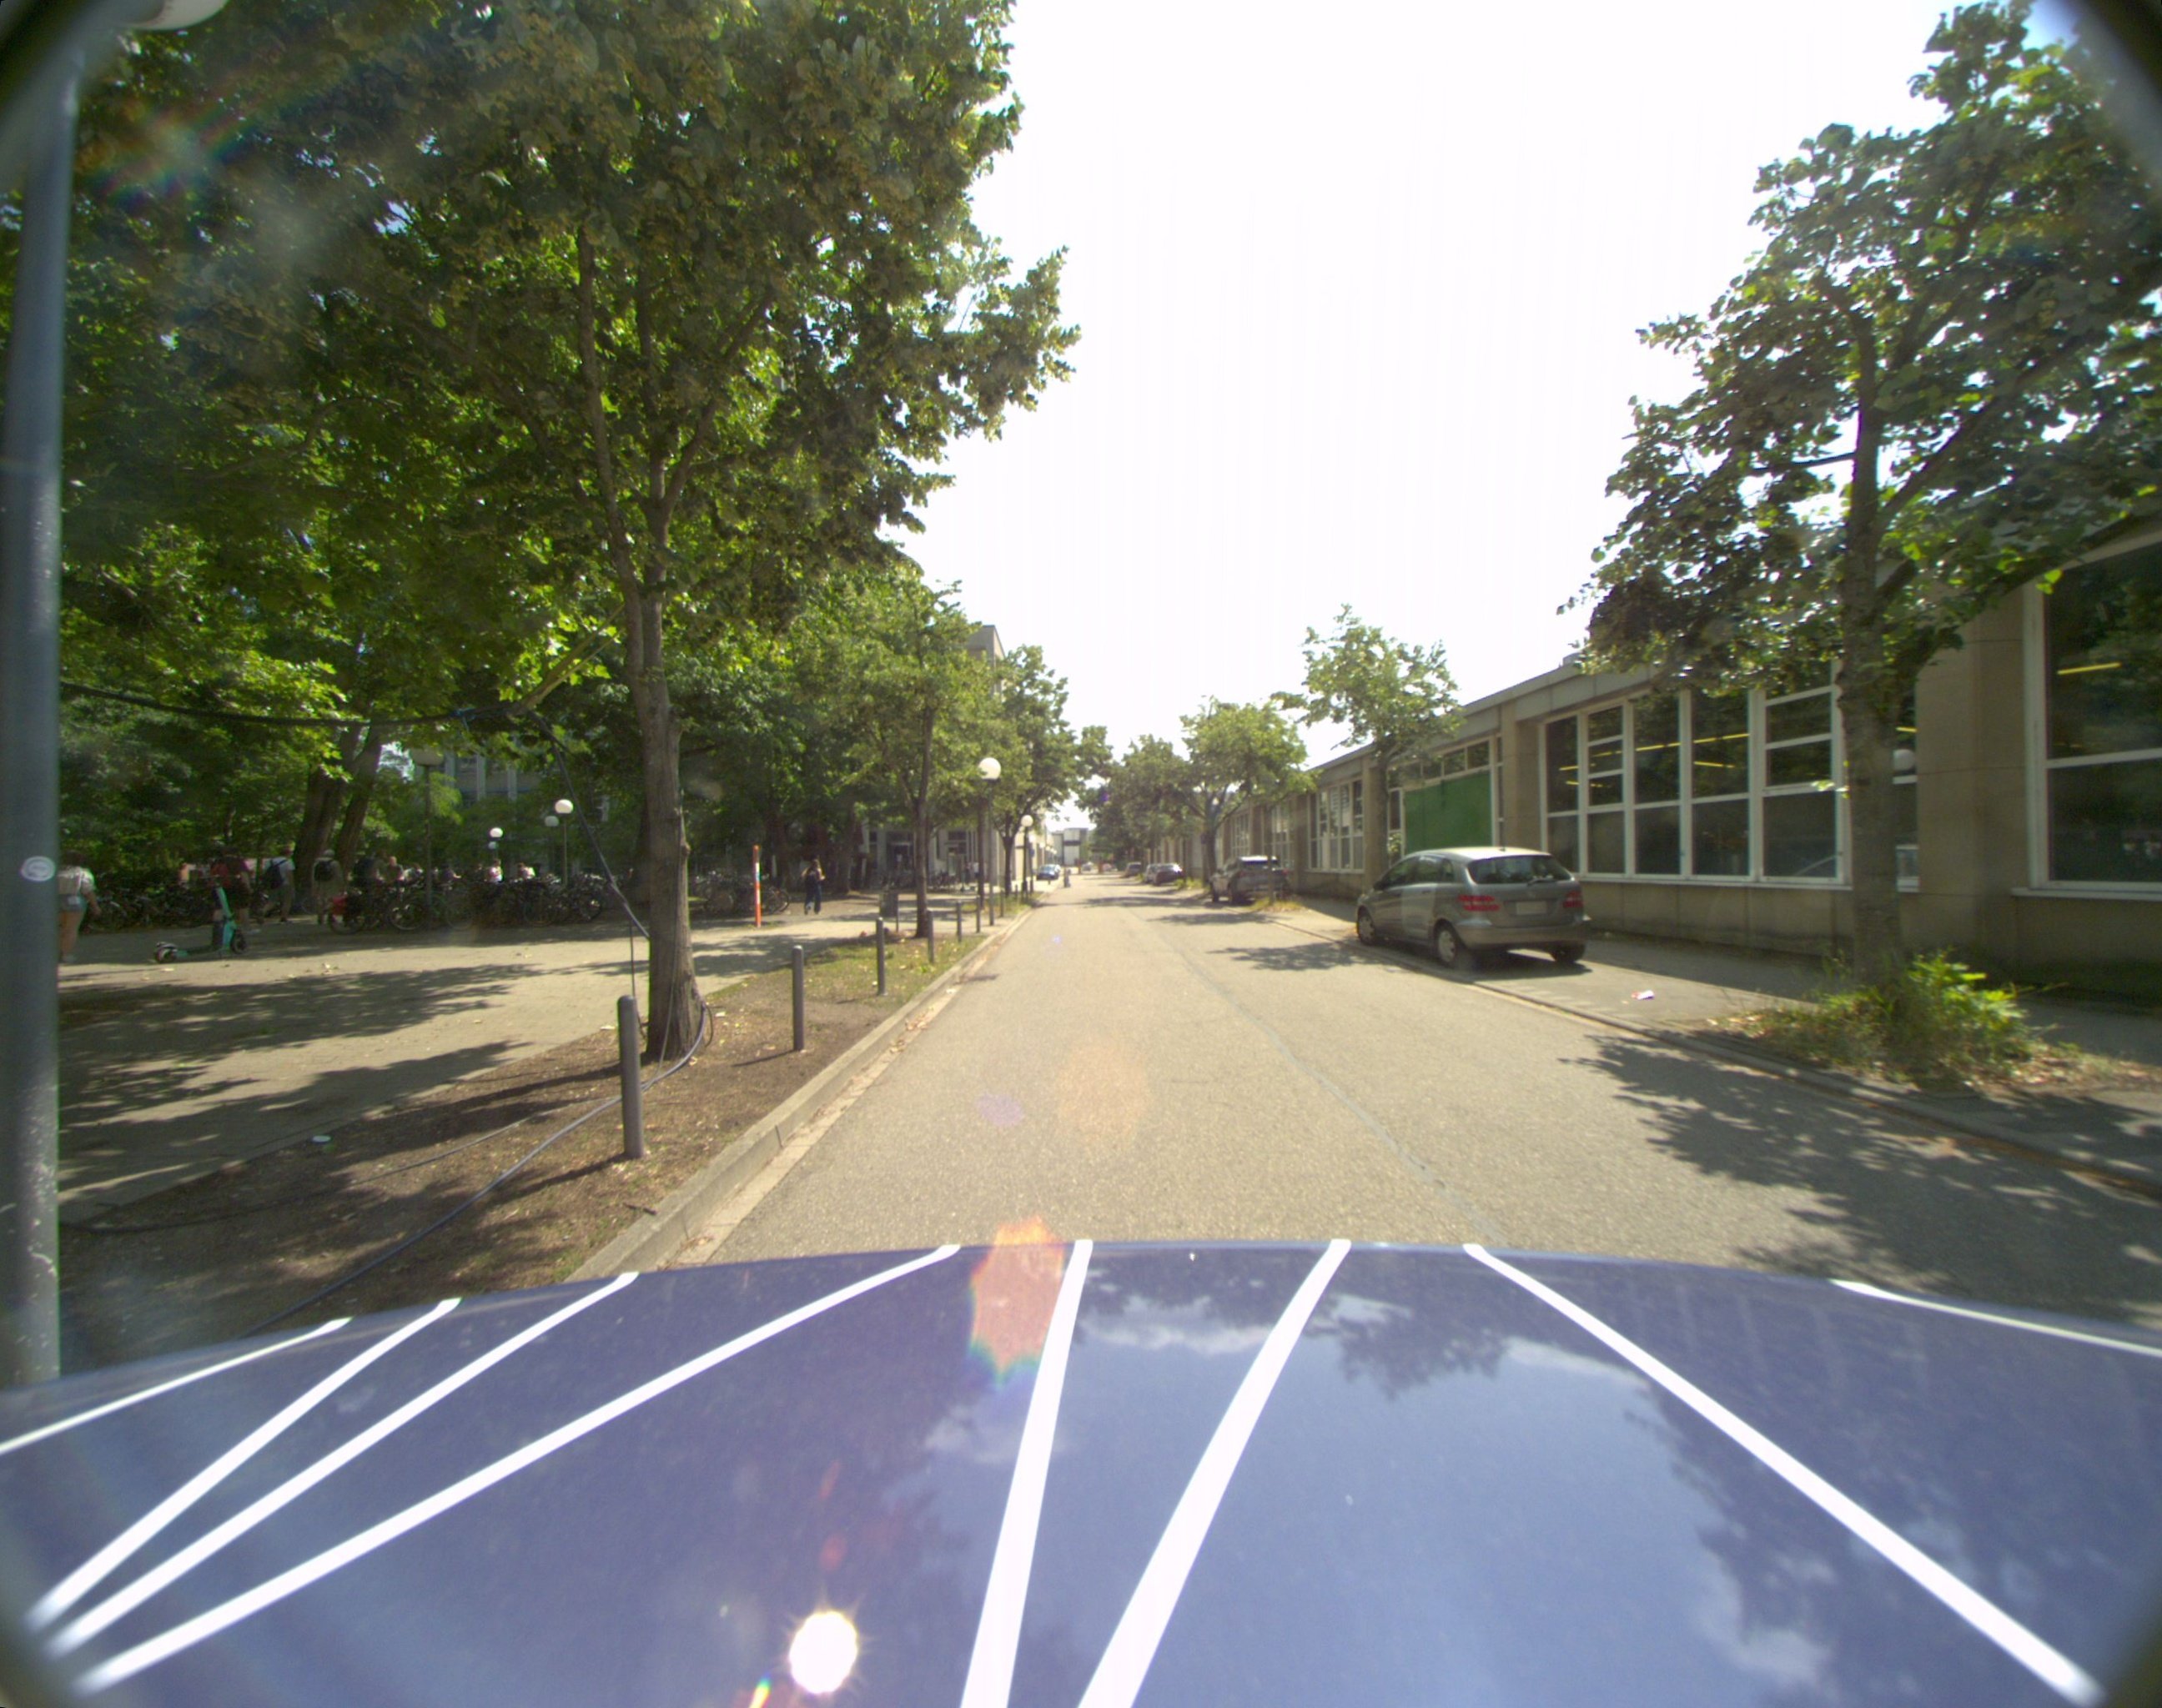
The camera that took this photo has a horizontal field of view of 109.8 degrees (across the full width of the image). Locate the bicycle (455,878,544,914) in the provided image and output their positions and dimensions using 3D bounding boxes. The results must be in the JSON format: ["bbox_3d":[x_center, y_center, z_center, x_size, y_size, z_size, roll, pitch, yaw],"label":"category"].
[{"bbox_3d":[-16.557,1.195,21.690,1.906,0.973,0.611,1,0,-22],"label":"bicycle"}]

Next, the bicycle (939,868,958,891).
[{"bbox_3d":[-7.202,1.372,41.166,0.629,1.078,1.684,-3,3,-23],"label":"bicycle"}]

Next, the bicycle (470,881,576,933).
[{"bbox_3d":[-12.447,1.168,17.000,1.811,1.112,0.611,1,0,-22],"label":"bicycle"}]

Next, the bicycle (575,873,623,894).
[{"bbox_3d":[-23.126,1.394,36.462,1.908,0.973,0.477,1,0,-38],"label":"bicycle"}]

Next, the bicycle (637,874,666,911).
[{"bbox_3d":[-13.417,1.170,23.757,0.479,1.076,1.900,0,0,-20],"label":"bicycle"}]

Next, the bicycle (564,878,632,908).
[{"bbox_3d":[-16.485,1.316,25.952,1.908,0.973,0.477,1,0,-41],"label":"bicycle"}]

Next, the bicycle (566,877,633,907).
[{"bbox_3d":[-16.739,1.301,26.427,1.908,0.973,0.477,1,0,-41],"label":"bicycle"}]

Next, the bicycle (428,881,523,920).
[{"bbox_3d":[-15.760,1.191,19.819,1.906,0.973,0.421,1,0,-22],"label":"bicycle"}]

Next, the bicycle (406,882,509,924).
[{"bbox_3d":[-15.339,1.197,18.746,1.906,0.973,0.477,1,0,-25],"label":"bicycle"}]

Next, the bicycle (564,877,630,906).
[{"bbox_3d":[-17.001,1.296,26.730,1.908,0.973,0.477,1,0,-41],"label":"bicycle"}]

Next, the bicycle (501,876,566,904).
[{"bbox_3d":[-19.861,1.303,27.580,1.908,0.973,0.477,1,0,-39],"label":"bicycle"}]

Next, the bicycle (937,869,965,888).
[{"bbox_3d":[-7.971,1.473,46.680,0.604,1.134,1.790,1,0,33],"label":"bicycle"}]

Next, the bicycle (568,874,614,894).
[{"bbox_3d":[-24.653,1.484,38.238,1.908,0.973,0.477,1,0,-44],"label":"bicycle"}]

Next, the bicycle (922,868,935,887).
[{"bbox_3d":[-9.545,1.481,47.680,0.561,1.134,1.490,1,-2,-2],"label":"bicycle"}]

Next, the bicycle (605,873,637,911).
[{"bbox_3d":[-14.121,1.151,23.348,0.479,1.076,1.900,0,0,-20],"label":"bicycle"}]

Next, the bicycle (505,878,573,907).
[{"bbox_3d":[-19.056,1.337,26.737,1.908,0.973,0.377,1,0,-39],"label":"bicycle"}]

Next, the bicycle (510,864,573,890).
[{"bbox_3d":[-20.418,0.872,28.783,1.907,0.973,0.378,1,0,-30],"label":"bicycle"}]

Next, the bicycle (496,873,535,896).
[{"bbox_3d":[-28.565,1.522,38.400,0.352,1.077,1.475,-4,-2,41],"label":"bicycle"}]

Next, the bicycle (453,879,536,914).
[{"bbox_3d":[-17.297,1.240,22.455,1.907,0.973,0.535,1,0,-34],"label":"bicycle"}]

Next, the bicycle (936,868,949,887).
[{"bbox_3d":[-8.618,1.451,47.420,0.561,1.134,1.489,1,0,-2],"label":"bicycle"}]

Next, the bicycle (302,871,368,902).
[{"bbox_3d":[-26.766,1.159,27.280,1.614,1.087,0.477,1,0,-29],"label":"bicycle"}]

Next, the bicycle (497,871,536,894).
[{"bbox_3d":[-27.722,1.386,37.308,0.352,1.077,1.475,-4,-1,33],"label":"bicycle"}]

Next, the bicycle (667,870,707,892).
[{"bbox_3d":[-21.371,1.437,41.226,1.849,1.163,0.412,0,-1,-39],"label":"bicycle"}]

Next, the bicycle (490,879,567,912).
[{"bbox_3d":[-17.315,1.294,23.852,1.907,0.973,0.477,1,0,-30],"label":"bicycle"}]

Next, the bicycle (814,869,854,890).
[{"bbox_3d":[-13.422,1.382,41.278,1.928,1.103,0.631,-1,1,-37],"label":"bicycle"}]

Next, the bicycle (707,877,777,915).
[{"bbox_3d":[-9.727,1.197,21.848,1.773,1.076,0.438,0,0,-12],"label":"bicycle"}]

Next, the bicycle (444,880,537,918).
[{"bbox_3d":[-15.899,1.192,20.496,1.906,0.973,0.477,1,0,-23],"label":"bicycle"}]

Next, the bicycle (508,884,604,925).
[{"bbox_3d":[-13.258,1.258,19.235,1.906,0.973,0.611,1,0,-22],"label":"bicycle"}]

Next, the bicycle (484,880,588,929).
[{"bbox_3d":[-12.915,1.180,18.066,1.906,1.112,0.611,1,0,-22],"label":"bicycle"}]

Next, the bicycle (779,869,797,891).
[{"bbox_3d":[-15.614,1.391,40.497,0.476,1.103,1.666,-1,1,-37],"label":"bicycle"}]

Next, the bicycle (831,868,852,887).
[{"bbox_3d":[-14.143,1.398,44.915,0.463,1.071,1.829,1,-2,8],"label":"bicycle"}]

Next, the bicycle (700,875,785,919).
[{"bbox_3d":[-9.185,1.160,20.692,2.021,1.160,0.651,0,0,-12],"label":"bicycle"}]

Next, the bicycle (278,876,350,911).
[{"bbox_3d":[-24.635,1.256,24.429,1.614,1.087,0.347,1,0,-29],"label":"bicycle"}]

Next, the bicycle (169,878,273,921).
[{"bbox_3d":[-22.529,1.169,19.932,1.756,1.087,0.477,1,0,-26],"label":"bicycle"}]

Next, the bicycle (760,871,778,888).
[{"bbox_3d":[-19.380,1.592,47.256,0.501,1.041,1.688,-3,-1,-5],"label":"bicycle"}]

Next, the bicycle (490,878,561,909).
[{"bbox_3d":[-18.641,1.306,25.526,1.908,0.973,0.477,1,0,-39],"label":"bicycle"}]

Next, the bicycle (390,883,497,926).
[{"bbox_3d":[-15.152,1.189,18.117,1.907,0.973,0.420,1,0,-28],"label":"bicycle"}]

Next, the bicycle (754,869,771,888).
[{"bbox_3d":[-19.985,1.534,47.698,0.454,1.123,1.688,-3,-1,-5],"label":"bicycle"}]

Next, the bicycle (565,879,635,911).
[{"bbox_3d":[-16.096,1.356,25.478,0.477,0.973,1.908,0,0,42],"label":"bicycle"}]

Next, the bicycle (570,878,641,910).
[{"bbox_3d":[-15.672,1.313,25.091,0.477,0.973,1.908,0,0,42],"label":"bicycle"}]

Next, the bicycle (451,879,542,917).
[{"bbox_3d":[-16.004,1.193,20.859,1.906,0.973,0.477,1,0,-23],"label":"bicycle"}]

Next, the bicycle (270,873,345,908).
[{"bbox_3d":[-25.030,1.160,24.617,1.614,1.087,0.477,1,0,-29],"label":"bicycle"}]

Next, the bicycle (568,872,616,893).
[{"bbox_3d":[-24.013,1.378,37.315,0.477,0.973,1.908,0,0,41],"label":"bicycle"}]

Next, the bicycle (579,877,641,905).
[{"bbox_3d":[-17.180,1.336,27.743,1.907,0.973,0.477,1,0,-30],"label":"bicycle"}]

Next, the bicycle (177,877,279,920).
[{"bbox_3d":[-22.685,1.171,20.244,1.756,1.087,0.477,1,0,-26],"label":"bicycle"}]

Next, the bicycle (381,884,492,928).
[{"bbox_3d":[-14.842,1.186,17.537,1.905,0.973,0.478,1,0,-19],"label":"bicycle"}]
